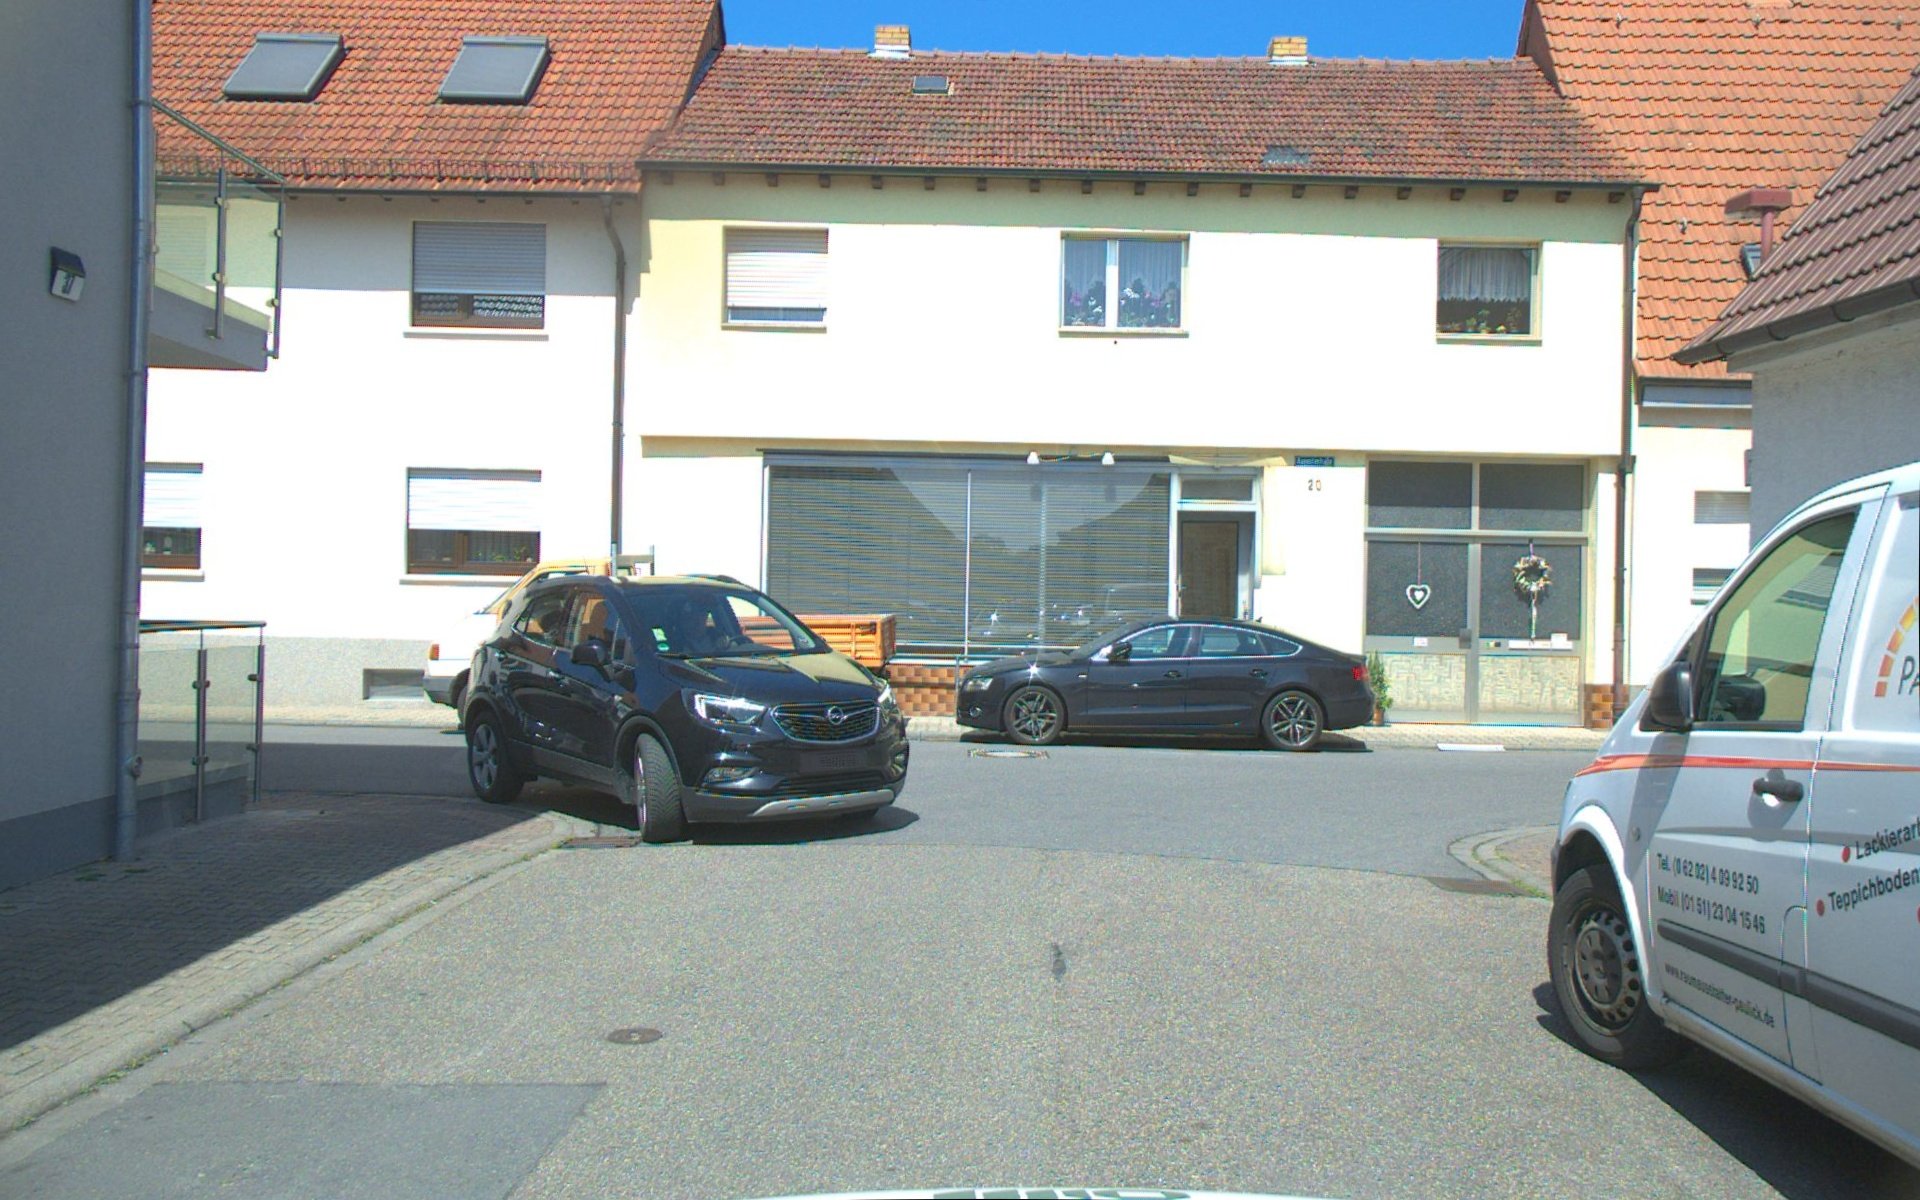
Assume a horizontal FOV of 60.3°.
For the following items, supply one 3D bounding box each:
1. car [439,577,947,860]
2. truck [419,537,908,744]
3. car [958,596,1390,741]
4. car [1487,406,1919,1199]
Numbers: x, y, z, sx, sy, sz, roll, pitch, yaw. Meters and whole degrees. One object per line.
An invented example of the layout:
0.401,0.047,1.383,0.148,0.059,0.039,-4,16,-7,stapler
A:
-2.051,0.658,11.632,1.744,1.610,4.223,-1,1,-38,car
-3.142,0.424,18.407,4.958,2.049,2.190,1,0,1,truck
2.253,0.765,18.305,4.522,1.419,1.928,1,-3,0,car
3.050,0.545,3.952,1.971,1.871,5.266,2,0,1,car
